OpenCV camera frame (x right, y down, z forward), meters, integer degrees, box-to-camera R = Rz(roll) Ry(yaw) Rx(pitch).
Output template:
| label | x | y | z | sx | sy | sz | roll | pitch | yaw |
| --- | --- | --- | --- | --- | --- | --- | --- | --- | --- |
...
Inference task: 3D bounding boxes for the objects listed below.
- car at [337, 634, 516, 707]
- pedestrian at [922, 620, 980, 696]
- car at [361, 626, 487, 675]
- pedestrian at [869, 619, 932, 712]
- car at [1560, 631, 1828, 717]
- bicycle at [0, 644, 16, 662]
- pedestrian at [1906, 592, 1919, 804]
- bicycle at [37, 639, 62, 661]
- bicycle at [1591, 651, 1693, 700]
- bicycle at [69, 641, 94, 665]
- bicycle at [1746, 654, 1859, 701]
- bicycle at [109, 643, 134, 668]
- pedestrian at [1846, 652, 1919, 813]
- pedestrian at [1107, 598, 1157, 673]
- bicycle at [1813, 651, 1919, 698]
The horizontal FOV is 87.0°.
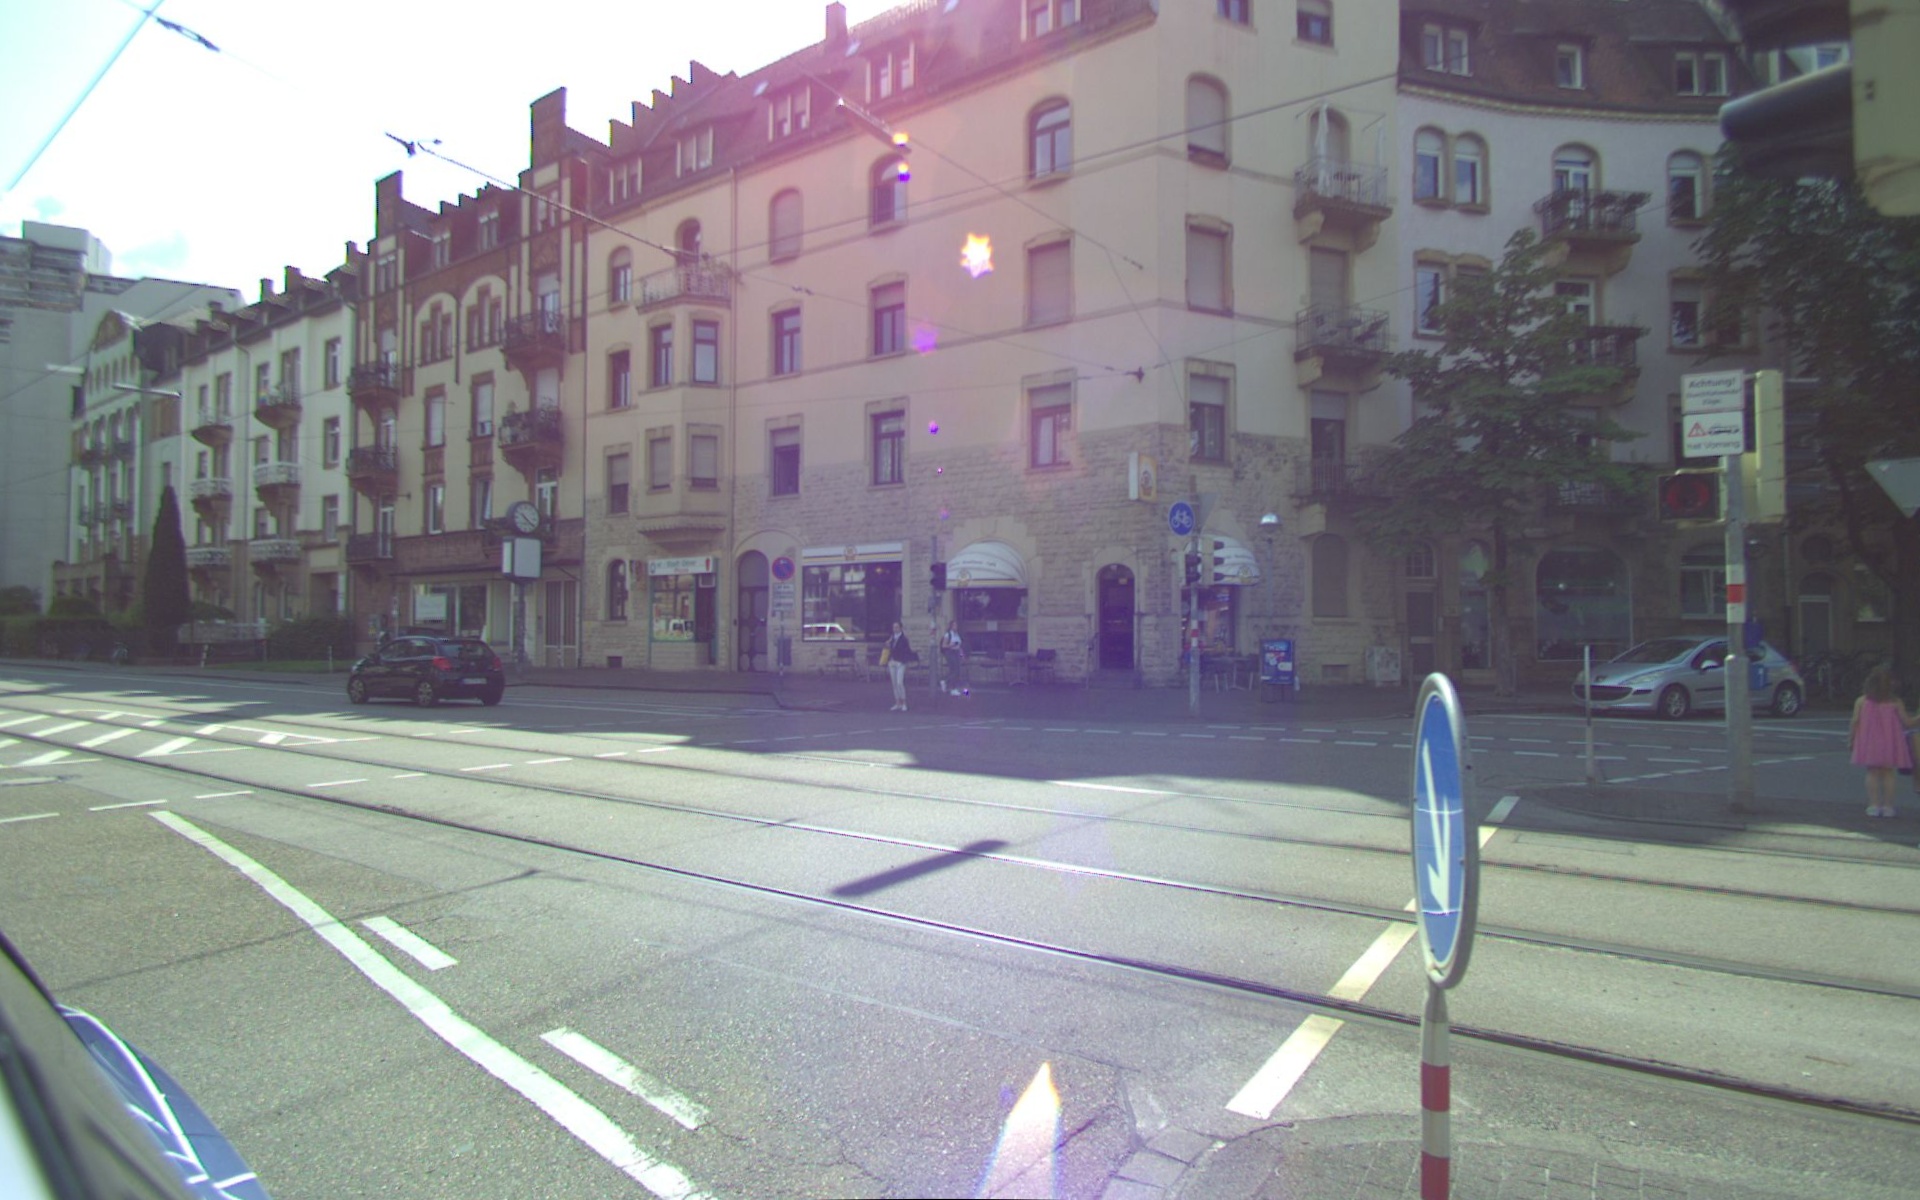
| label | x | y | z | sx | sy | sz | roll | pitch | yaw |
| --- | --- | --- | --- | --- | --- | --- | --- | --- | --- |
| car | -11.037 | 1.431 | 20.926 | 3.420 | 1.398 | 1.614 | -1 | -4 | 28 |
| pedestrian | -0.194 | 1.239 | 21.839 | 0.961 | 1.553 | 0.688 | -2 | 2 | 34 |
| car | -18.270 | 1.688 | 34.592 | 1.703 | 1.497 | 3.414 | -2 | 0 | 36 |
| pedestrian | -1.144 | 1.247 | 19.604 | 0.871 | 1.717 | 0.750 | -2 | 2 | 34 |
| car | 13.077 | 1.280 | 18.126 | 3.809 | 1.431 | 1.725 | 0 | -2 | -12 |
| bicycle | -48.325 | 2.680 | 51.220 | 1.871 | 0.803 | 0.580 | -1 | 1 | 39 |
| pedestrian | 7.419 | 0.722 | 7.219 | 0.796 | 1.577 | 0.723 | -1 | -2 | 30 |
| bicycle | -43.128 | 2.370 | 47.952 | 1.871 | 0.993 | 0.580 | -1 | -2 | 39 |
| bicycle | 14.295 | 1.567 | 21.286 | 0.515 | 0.889 | 2.035 | 0 | -1 | -9 |
| bicycle | -39.483 | 2.368 | 45.465 | 1.871 | 1.037 | 0.533 | -1 | -2 | 39 |
| bicycle | 18.131 | 1.643 | 21.836 | 0.503 | 0.889 | 2.035 | 0 | -1 | -9 |
| bicycle | -34.831 | 2.294 | 42.024 | 2.066 | 0.913 | 0.518 | 1 | -1 | 42 |
| pedestrian | 6.942 | 0.956 | 7.479 | 0.442 | 1.122 | 0.636 | -1 | -2 | 30 |
| pedestrian | 3.959 | 0.817 | 23.288 | 0.855 | 1.685 | 0.813 | -2 | -3 | 33 |
| bicycle | 19.811 | 1.603 | 22.024 | 0.538 | 0.889 | 2.035 | 0 | -1 | -9 |
